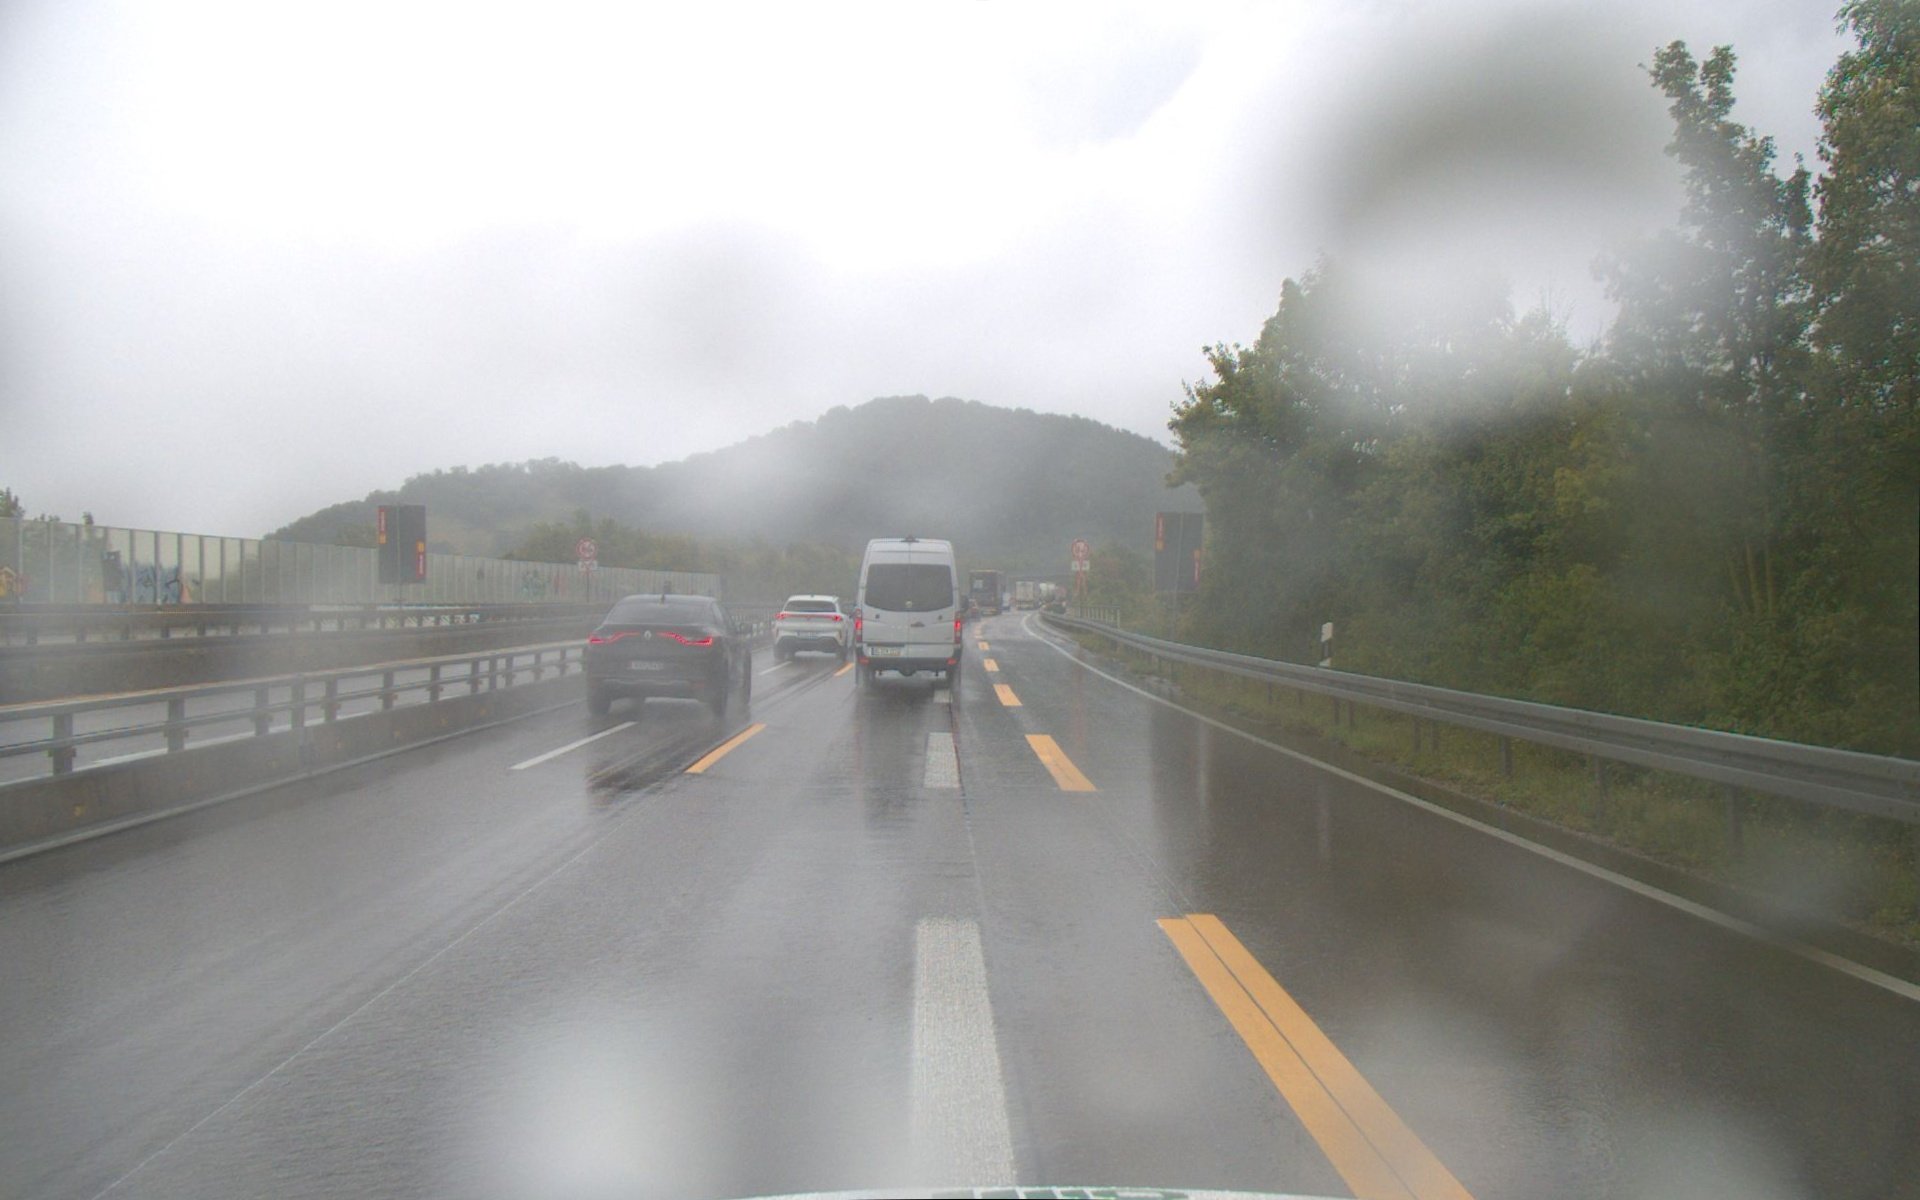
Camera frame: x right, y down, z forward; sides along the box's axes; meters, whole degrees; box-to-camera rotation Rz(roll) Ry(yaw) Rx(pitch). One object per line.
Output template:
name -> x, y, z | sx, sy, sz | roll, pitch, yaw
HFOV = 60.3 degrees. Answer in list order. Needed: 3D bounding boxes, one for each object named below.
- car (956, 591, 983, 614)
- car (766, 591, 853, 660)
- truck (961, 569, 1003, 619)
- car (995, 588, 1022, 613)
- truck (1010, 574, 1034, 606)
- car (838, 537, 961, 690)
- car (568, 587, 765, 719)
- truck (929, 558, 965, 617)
car -> 0.671, 0.166, 113.357 | 1.737, 1.501, 4.001 | 1, 0, 2
car -> -3.805, 0.622, 42.446 | 1.953, 1.646, 4.794 | 1, 0, -2
truck -> 2.088, -0.533, 153.384 | 3.506, 4.483, 9.627 | 1, 0, 3
car -> 5.921, 0.123, 200.091 | 2.837, 2.938, 6.415 | 1, 0, 5
truck -> 8.754, -1.355, 232.623 | 2.972, 4.483, 9.628 | 1, 0, 4
car -> -1.049, 0.249, 31.366 | 2.101, 2.616, 5.389 | 1, 0, 0
car -> -3.892, 0.665, 22.659 | 1.953, 1.613, 4.412 | 1, 0, -1
truck -> -0.689, -0.674, 93.743 | 1.953, 3.163, 8.498 | 1, 0, 0
